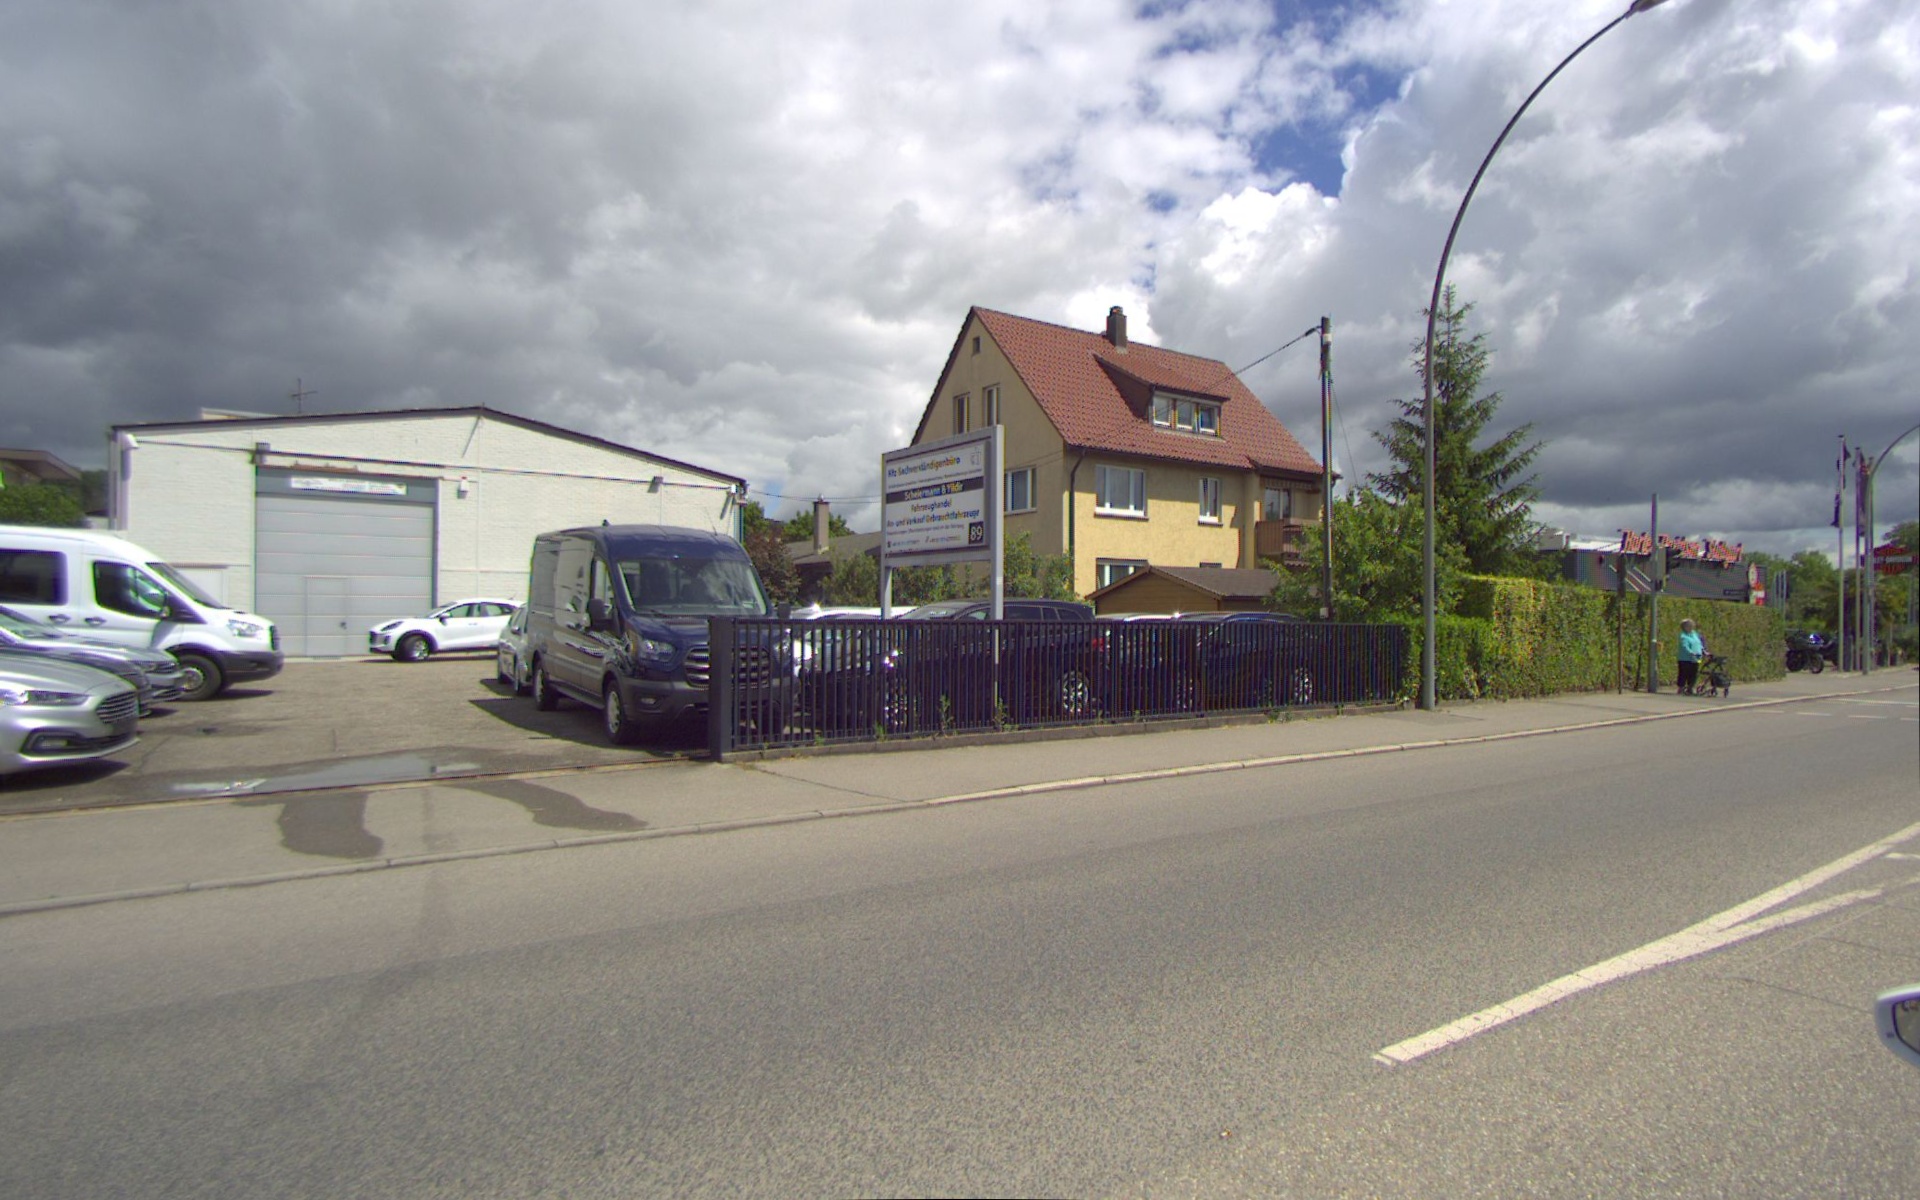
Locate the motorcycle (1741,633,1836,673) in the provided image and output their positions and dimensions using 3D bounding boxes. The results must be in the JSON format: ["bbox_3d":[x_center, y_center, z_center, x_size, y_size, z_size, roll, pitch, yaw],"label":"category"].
[{"bbox_3d":[28.244,1.775,34.309,0.910,1.234,2.503,2,-1,-10],"label":"motorcycle"}]

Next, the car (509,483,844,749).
[{"bbox_3d":[-3.896,0.223,12.737,2.451,2.529,6.003,1,-2,-33],"label":"car"}]

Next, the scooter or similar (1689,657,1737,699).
[{"bbox_3d":[15.622,1.611,20.842,0.652,0.842,0.608,1,-1,-33],"label":"scooter or similar"}]

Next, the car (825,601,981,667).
[{"bbox_3d":[-1.508,0.912,27.219,3.966,1.639,1.762,2,-2,-39],"label":"car"}]

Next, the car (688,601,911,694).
[{"bbox_3d":[-3.065,0.898,19.600,3.966,1.639,1.762,2,-2,-39],"label":"car"}]

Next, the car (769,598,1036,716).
[{"bbox_3d":[-0.836,0.854,15.940,3.966,1.639,1.762,2,-2,-39],"label":"car"}]

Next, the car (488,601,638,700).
[{"bbox_3d":[-6.997,0.809,17.462,1.931,1.499,4.022,1,-1,-29],"label":"car"}]

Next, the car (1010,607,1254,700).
[{"bbox_3d":[3.229,0.928,18.573,4.227,1.527,2.138,1,-1,-36],"label":"car"}]

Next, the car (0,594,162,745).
[{"bbox_3d":[-10.823,0.656,9.878,4.268,1.445,1.841,1,-1,-22],"label":"car"}]

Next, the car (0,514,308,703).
[{"bbox_3d":[-13.239,0.169,14.659,6.064,2.528,2.401,1,-3,-31],"label":"car"}]

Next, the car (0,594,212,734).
[{"bbox_3d":[-11.922,0.738,12.124,4.268,1.598,1.841,1,-1,-22],"label":"car"}]

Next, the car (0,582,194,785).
[{"bbox_3d":[-9.329,0.598,7.568,5.264,1.505,1.989,1,-1,-23],"label":"car"}]

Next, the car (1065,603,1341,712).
[{"bbox_3d":[3.965,0.860,16.185,4.227,1.527,2.138,1,-2,-36],"label":"car"}]

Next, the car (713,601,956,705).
[{"bbox_3d":[-2.167,0.897,17.868,3.966,1.639,1.762,2,-2,-39],"label":"car"}]

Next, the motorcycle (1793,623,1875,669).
[{"bbox_3d":[34.833,1.804,40.086,1.023,1.705,2.306,2,-1,-10],"label":"motorcycle"}]

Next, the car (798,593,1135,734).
[{"bbox_3d":[0.169,0.786,13.631,4.244,1.616,2.017,1,-2,-36],"label":"car"}]

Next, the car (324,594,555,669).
[{"bbox_3d":[-13.109,0.785,25.453,4.959,1.735,2.034,1,-2,-37],"label":"car"}]

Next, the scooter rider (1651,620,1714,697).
[{"bbox_3d":[15.377,1.227,21.381,0.787,1.610,0.873,1,-1,-33],"label":"scooter rider"}]
